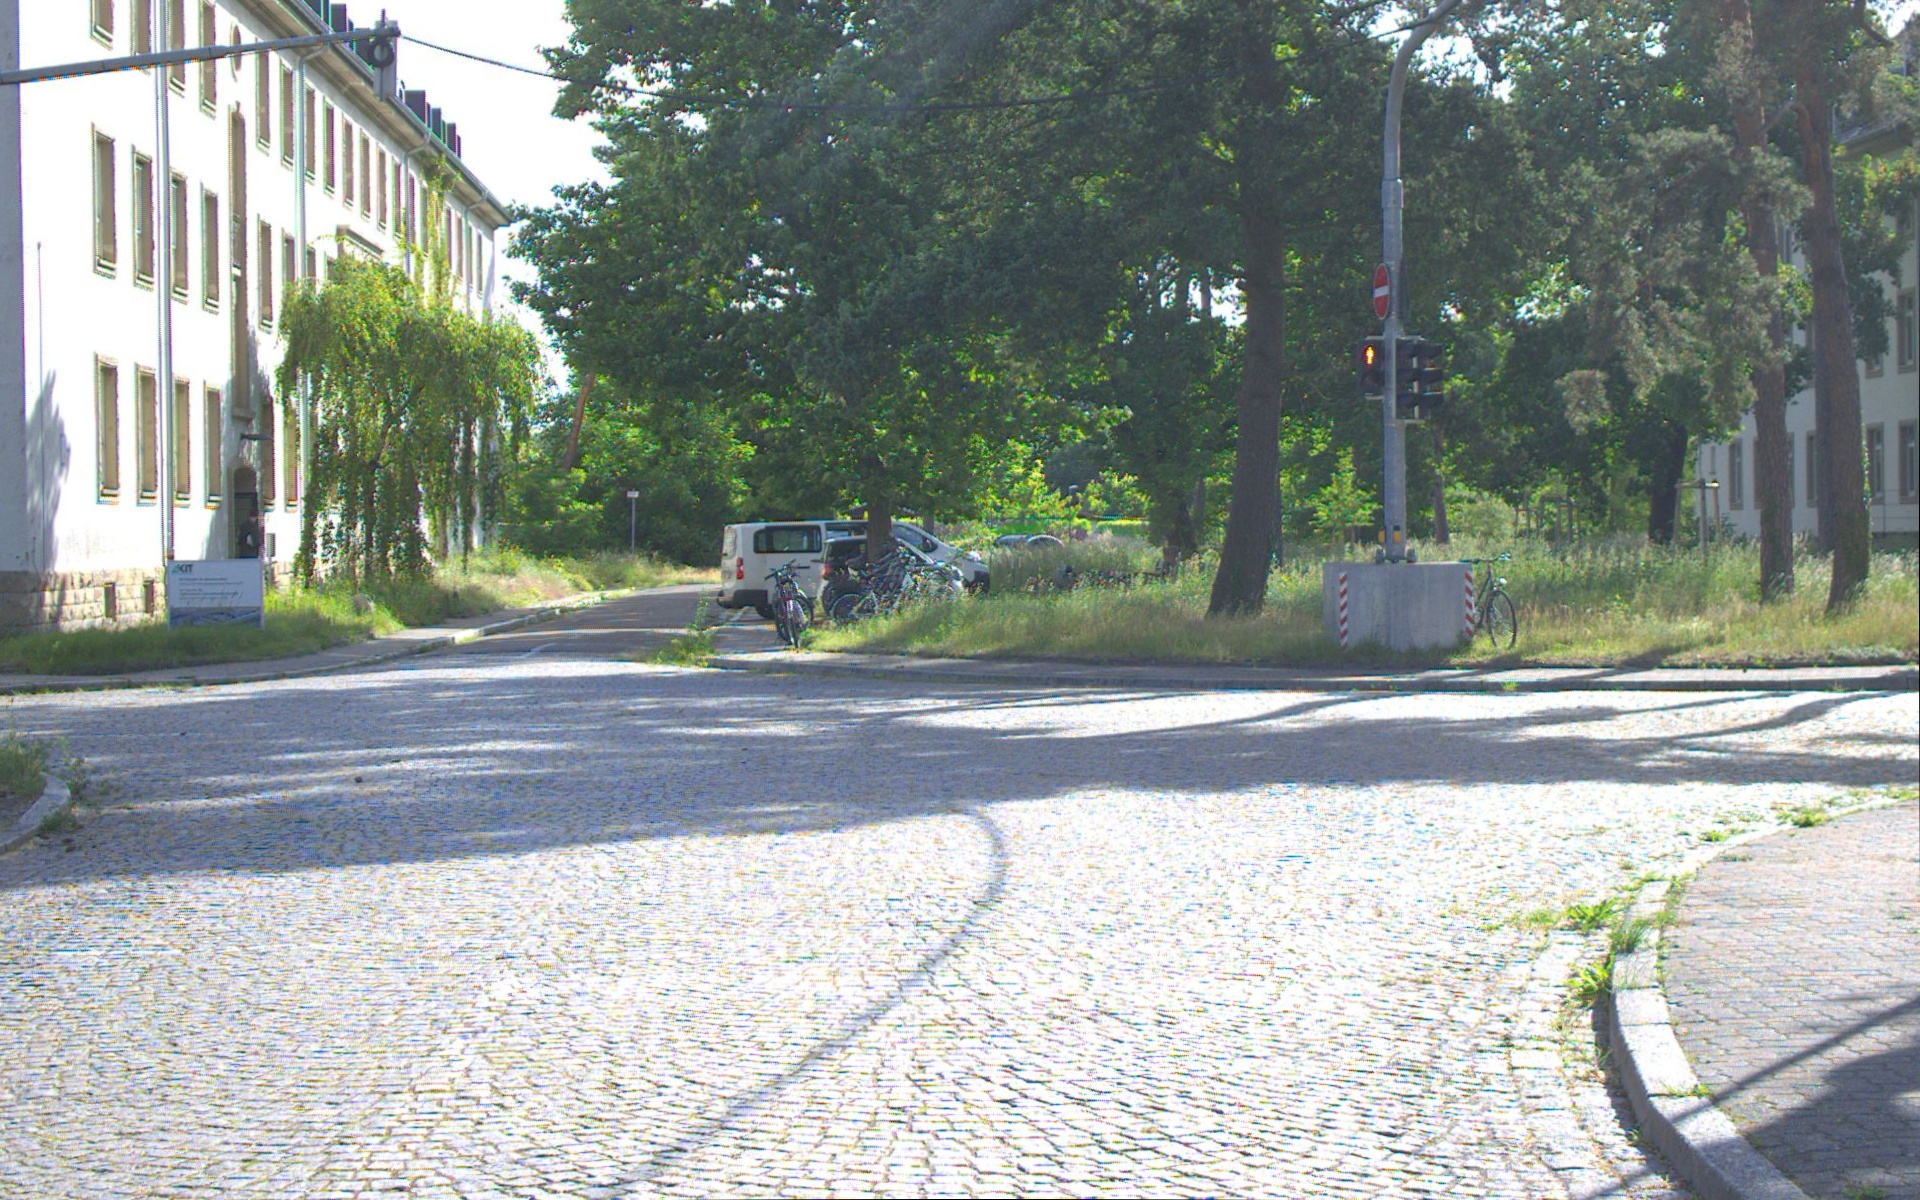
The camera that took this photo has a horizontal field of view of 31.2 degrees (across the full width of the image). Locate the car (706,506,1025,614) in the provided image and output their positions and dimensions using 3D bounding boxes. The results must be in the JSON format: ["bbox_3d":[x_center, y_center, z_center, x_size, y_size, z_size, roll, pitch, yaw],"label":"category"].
[{"bbox_3d":[-1.881,-0.800,66.960,5.929,2.007,2.476,-1,1,-9],"label":"car"}]

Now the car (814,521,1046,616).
[{"bbox_3d":[-0.567,-0.591,62.743,3.986,1.678,1.848,-1,1,-9],"label":"car"}]

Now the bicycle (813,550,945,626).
[{"bbox_3d":[-1.227,-0.192,52.064,1.940,1.125,0.648,-1,1,-7],"label":"bicycle"}]

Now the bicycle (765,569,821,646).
[{"bbox_3d":[-2.217,0.088,45.444,0.695,0.968,1.861,0,1,-4],"label":"bicycle"}]

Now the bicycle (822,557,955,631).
[{"bbox_3d":[-1.025,-0.087,48.962,1.854,1.027,0.750,-1,1,-5],"label":"bicycle"}]

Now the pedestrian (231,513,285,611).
[{"bbox_3d":[-13.062,-0.703,63.974,0.812,1.811,0.555,0,1,9],"label":"pedestrian"}]

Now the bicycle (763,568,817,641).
[{"bbox_3d":[-2.349,0.049,47.380,0.695,0.968,1.861,0,1,-4],"label":"bicycle"}]

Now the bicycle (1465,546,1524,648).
[{"bbox_3d":[5.748,-0.034,37.015,0.466,1.076,1.174,-1,1,1],"label":"bicycle"}]

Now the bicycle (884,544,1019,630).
[{"bbox_3d":[-0.126,-0.192,50.486,1.940,1.231,0.485,-1,1,-5],"label":"bicycle"}]

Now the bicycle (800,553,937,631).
[{"bbox_3d":[-1.347,-0.126,50.969,1.940,1.125,0.648,-1,1,-29],"label":"bicycle"}]

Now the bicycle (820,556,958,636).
[{"bbox_3d":[-1.029,-0.059,49.761,1.940,1.125,0.750,-1,1,-5],"label":"bicycle"}]
